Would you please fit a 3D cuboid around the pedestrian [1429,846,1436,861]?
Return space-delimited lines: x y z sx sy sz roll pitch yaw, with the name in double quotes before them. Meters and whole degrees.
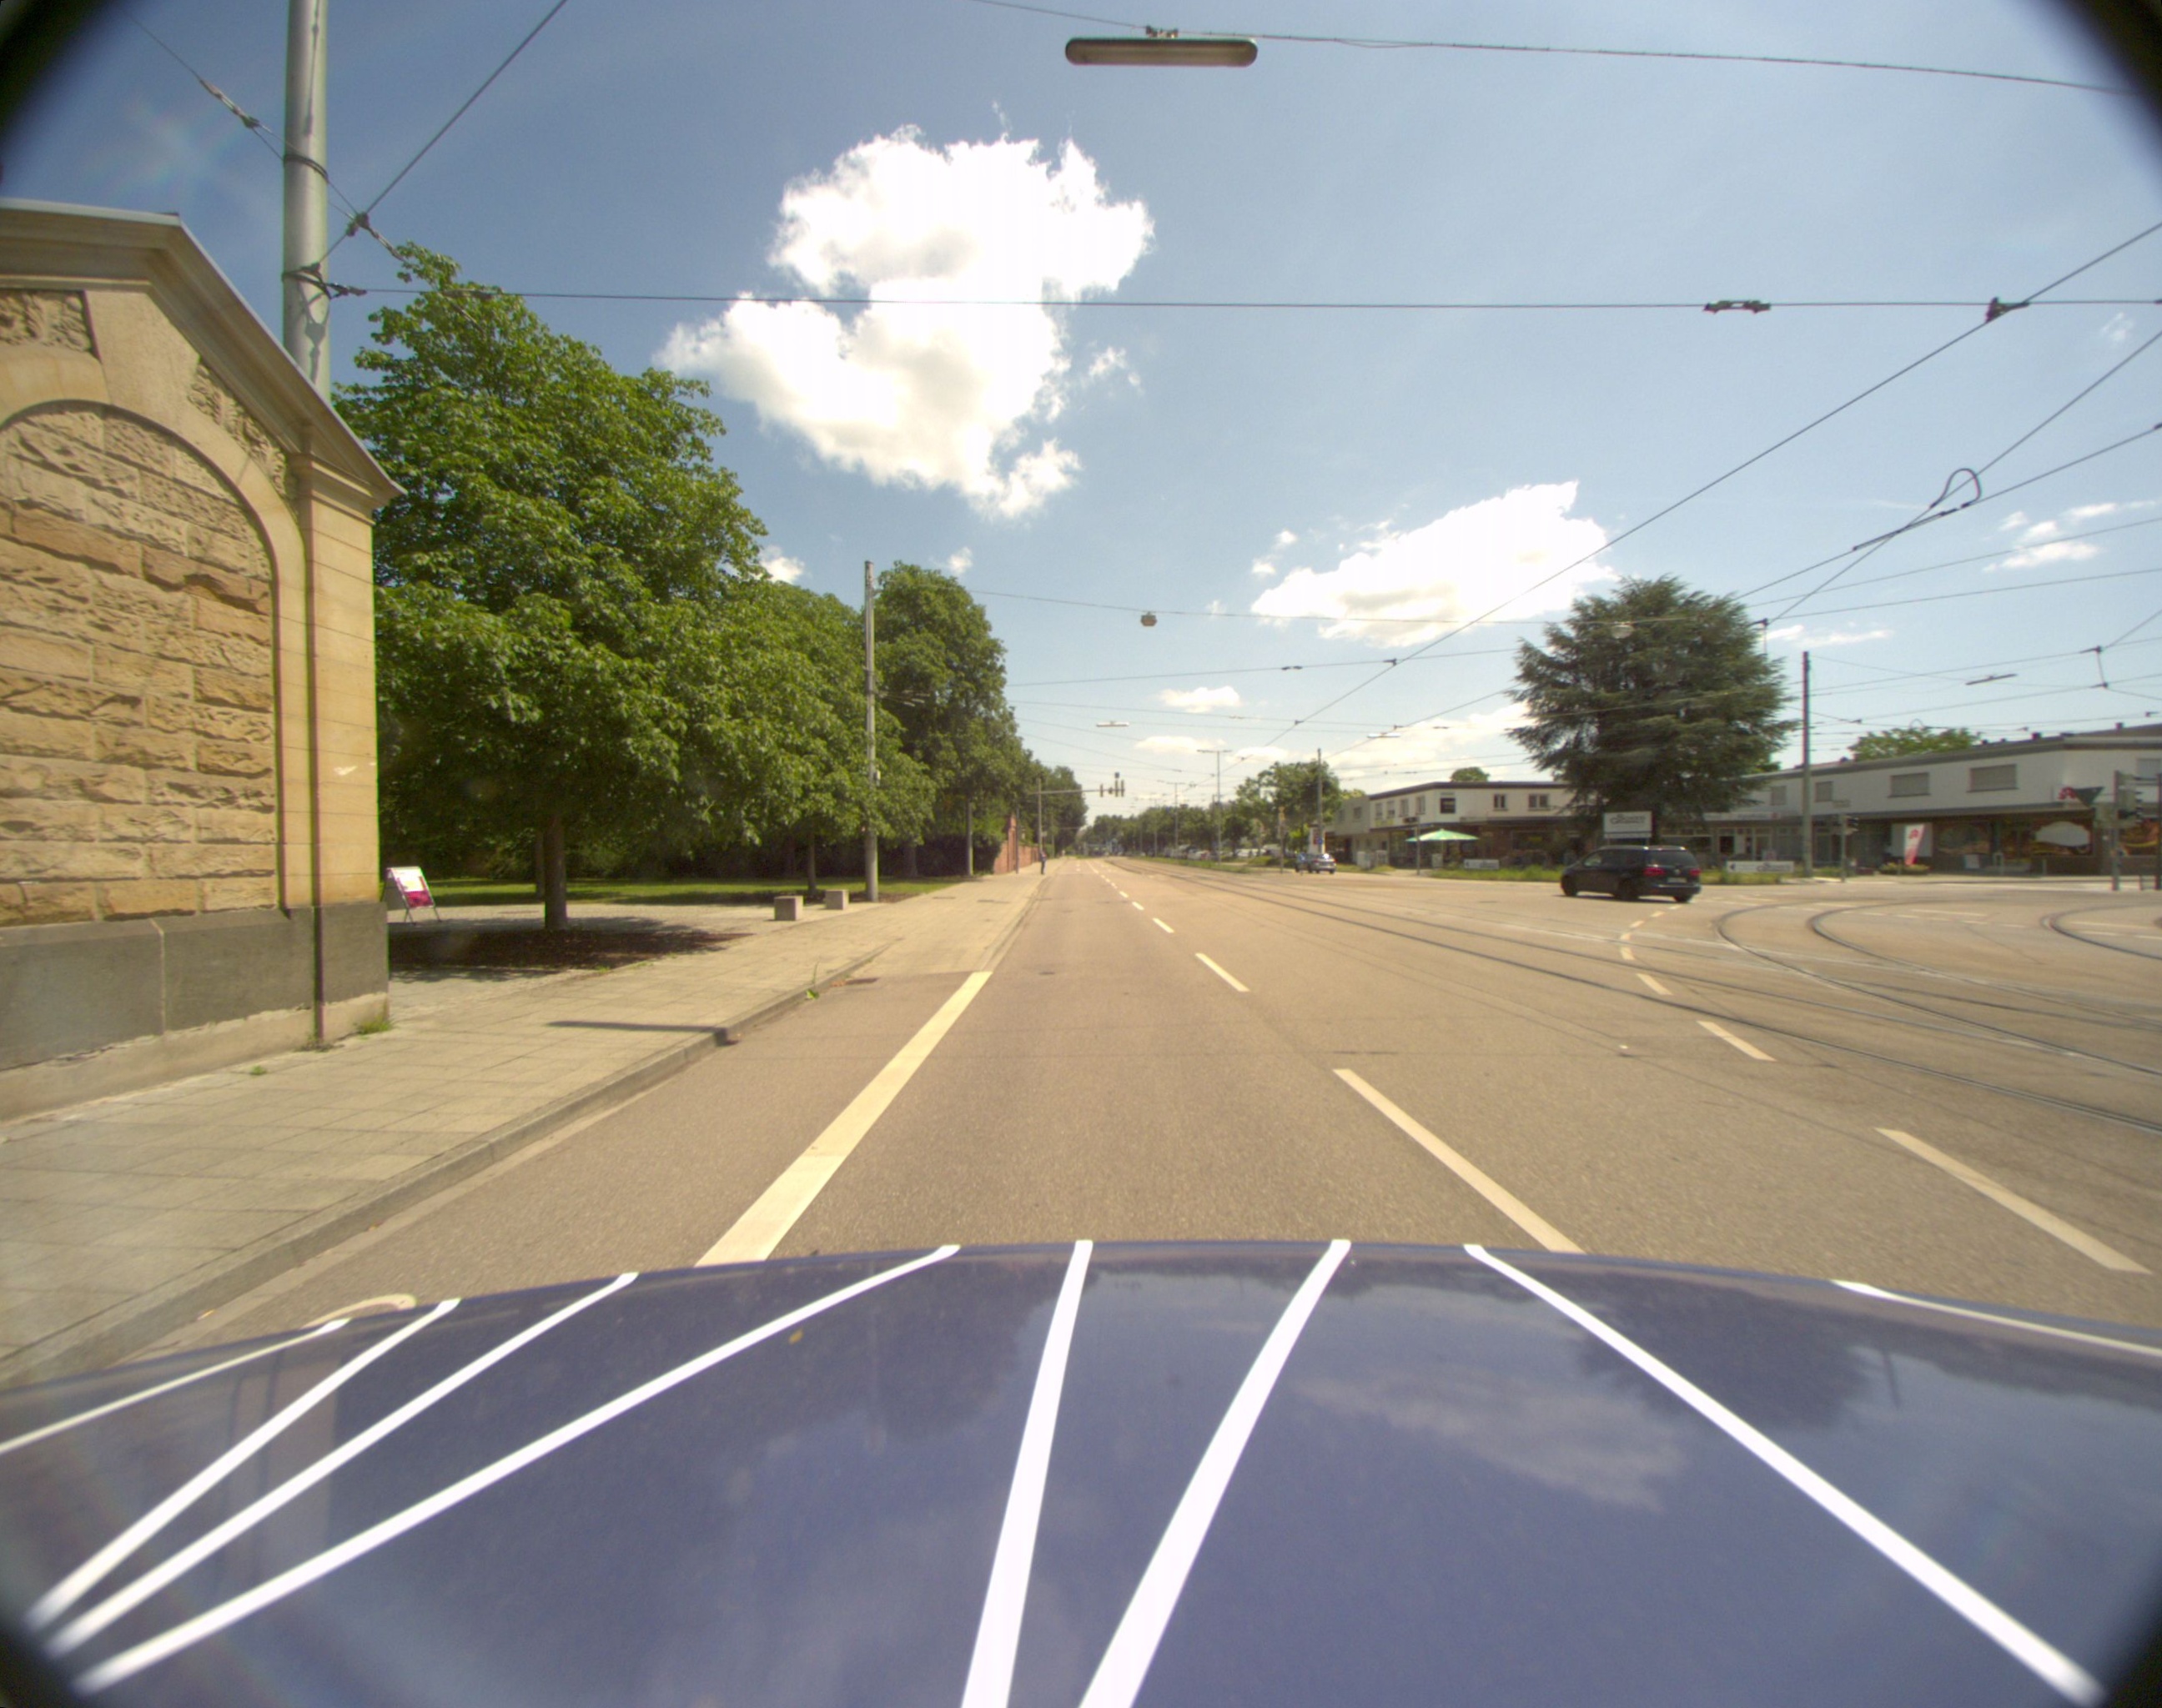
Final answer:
"pedestrian" 30.100 -0.032 65.128 0.387 1.239 0.400 0 1 1

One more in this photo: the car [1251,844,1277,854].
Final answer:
"car" 31.465 -0.883 130.526 3.997 1.726 1.902 0 1 1

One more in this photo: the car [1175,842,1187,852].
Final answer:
"car" 20.240 -1.498 154.675 1.794 1.928 4.648 -2 1 0

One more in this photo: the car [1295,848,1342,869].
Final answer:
"car" 17.129 0.301 54.932 1.999 1.463 4.400 0 1 -1

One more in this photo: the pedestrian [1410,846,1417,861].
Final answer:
"pedestrian" 29.364 -0.044 67.071 0.354 1.261 0.533 0 1 1

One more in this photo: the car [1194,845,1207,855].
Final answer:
"car" 19.620 -0.731 125.106 1.503 1.531 4.358 -2 1 1

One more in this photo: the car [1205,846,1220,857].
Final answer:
"car" 19.983 -0.409 115.414 1.580 1.531 4.550 -2 1 1

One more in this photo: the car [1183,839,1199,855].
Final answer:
"car" 19.904 -1.292 137.843 2.156 2.597 5.032 -2 1 0

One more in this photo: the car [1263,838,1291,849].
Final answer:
"car" 44.409 -2.338 172.465 5.698 2.467 2.259 0 1 -3

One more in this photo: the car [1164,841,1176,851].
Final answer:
"car" 20.210 -1.871 173.033 2.072 2.089 4.487 -2 1 -2

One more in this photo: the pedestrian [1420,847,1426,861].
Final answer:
"pedestrian" 29.215 -0.003 64.866 0.319 1.261 0.501 0 1 1

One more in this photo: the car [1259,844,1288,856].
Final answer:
"car" 30.291 -0.693 119.533 3.997 1.726 1.803 1 2 1

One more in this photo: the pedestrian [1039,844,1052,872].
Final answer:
"pedestrian" -2.372 0.259 50.349 0.767 1.841 0.717 0 1 -8

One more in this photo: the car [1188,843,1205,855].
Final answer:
"car" 20.058 -0.901 131.673 2.156 1.827 4.887 -2 1 0

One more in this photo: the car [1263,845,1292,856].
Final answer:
"car" 30.361 -0.578 117.197 3.997 1.726 1.879 0 1 1

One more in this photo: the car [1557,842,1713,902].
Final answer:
"car" 16.674 0.473 23.179 1.728 1.673 4.279 0 1 2

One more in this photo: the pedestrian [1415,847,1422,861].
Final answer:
"pedestrian" 29.278 -0.015 65.936 0.345 1.261 0.528 0 1 3

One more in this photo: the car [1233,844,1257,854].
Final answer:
"car" 31.162 -0.997 144.549 4.199 1.726 1.803 1 2 1

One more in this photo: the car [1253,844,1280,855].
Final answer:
"car" 31.176 -0.826 127.862 3.997 1.726 1.803 1 2 1

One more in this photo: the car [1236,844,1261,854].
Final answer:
"car" 29.973 -0.956 135.968 3.997 1.726 1.803 1 2 1
